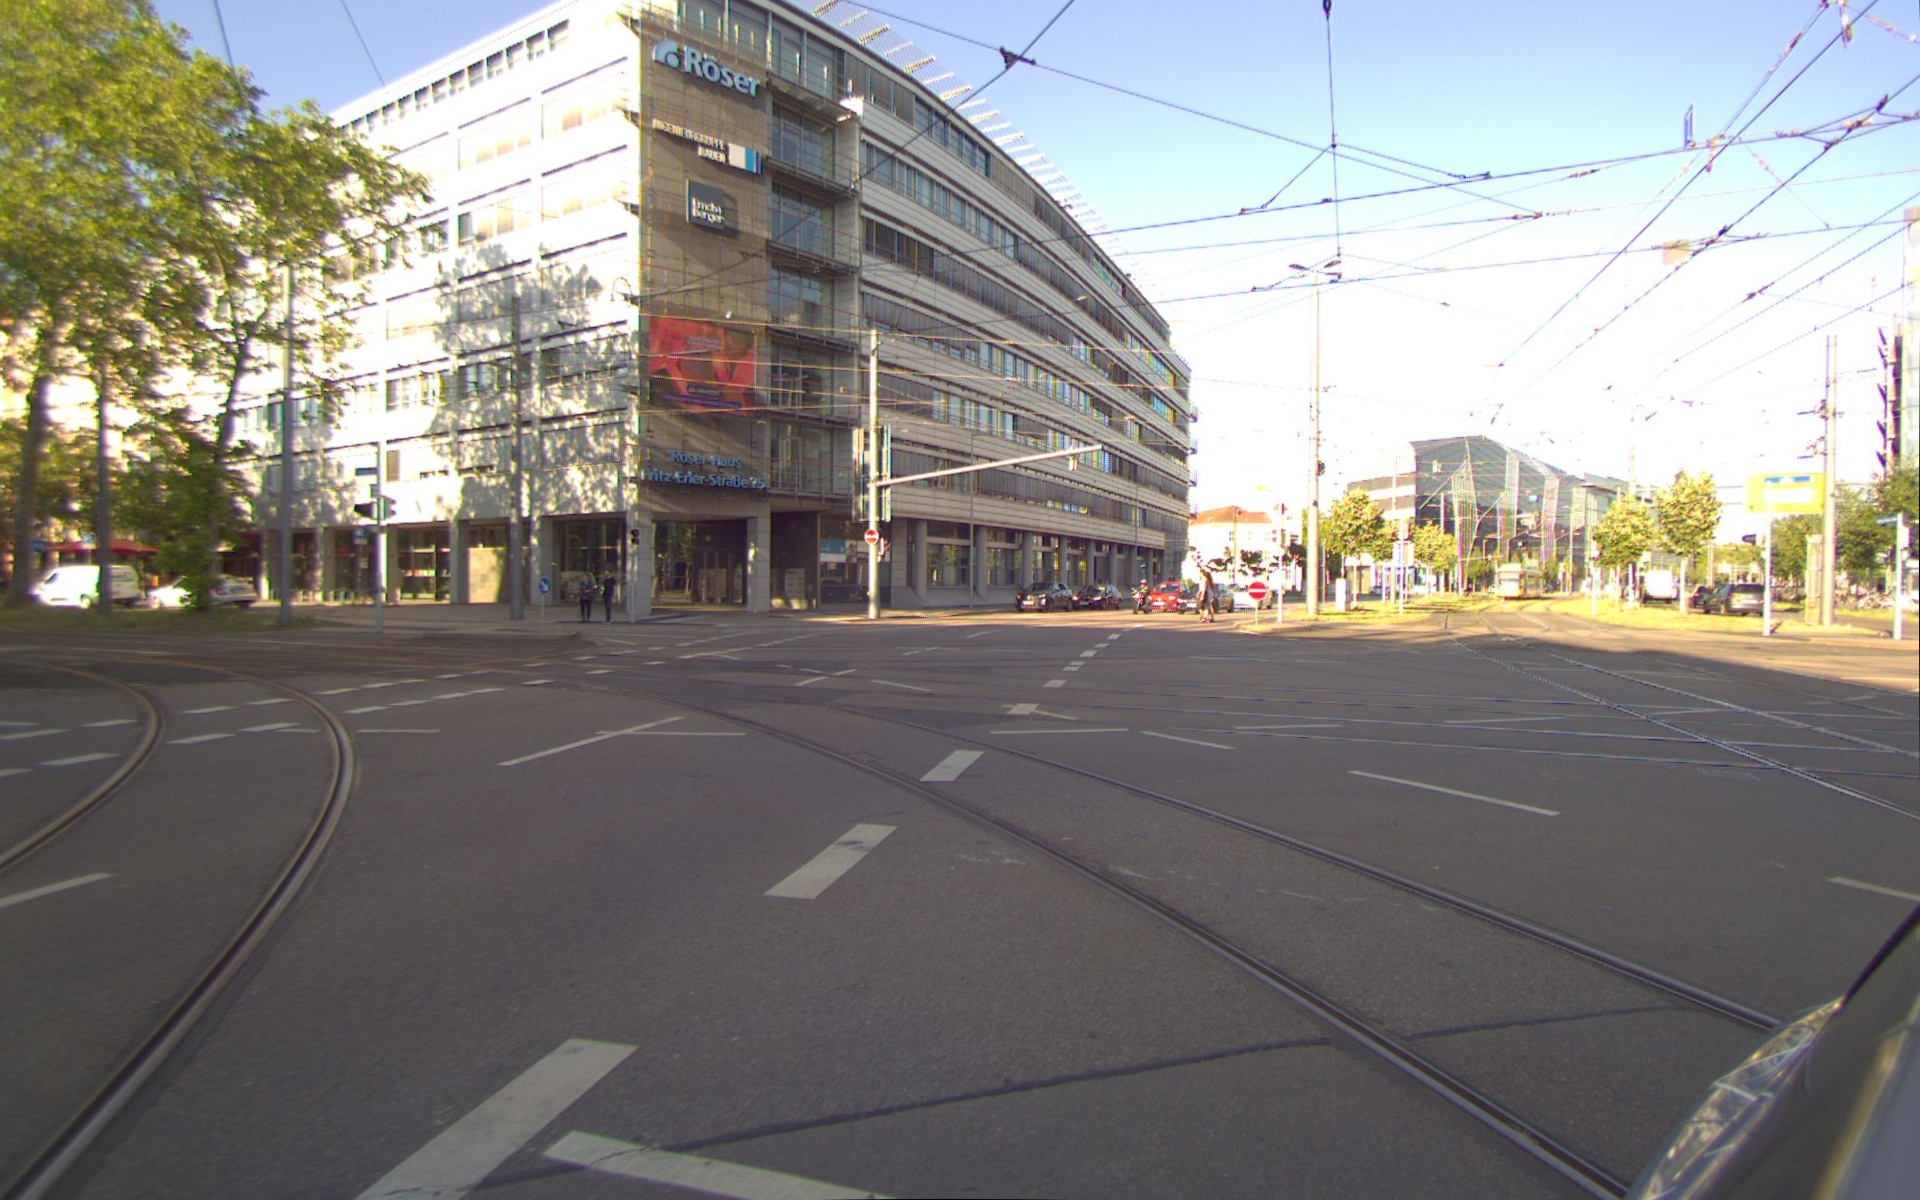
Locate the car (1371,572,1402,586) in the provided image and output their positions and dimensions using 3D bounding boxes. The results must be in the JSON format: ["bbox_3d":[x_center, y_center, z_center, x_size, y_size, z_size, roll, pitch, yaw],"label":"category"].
[{"bbox_3d":[60.145,-2.984,142.776,3.954,1.883,1.985,1,2,23],"label":"car"}]

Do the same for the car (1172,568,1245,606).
[{"bbox_3d":[11.342,-0.586,46.052,1.891,1.641,4.471,1,1,33],"label":"car"}]

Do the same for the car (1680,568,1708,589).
[{"bbox_3d":[73.001,-2.196,100.601,3.824,2.038,1.608,-2,2,-45],"label":"car"}]

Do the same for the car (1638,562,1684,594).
[{"bbox_3d":[57.262,-1.780,82.617,5.875,2.511,1.995,0,1,-44],"label":"car"}]

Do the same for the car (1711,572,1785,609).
[{"bbox_3d":[37.529,-0.465,48.305,1.600,1.622,4.145,3,2,22],"label":"car"}]

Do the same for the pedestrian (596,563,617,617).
[{"bbox_3d":[-12.032,-0.347,34.442,0.537,1.846,0.374,0,1,5],"label":"pedestrian"}]

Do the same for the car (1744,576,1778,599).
[{"bbox_3d":[59.569,-0.930,75.342,1.855,1.652,4.206,1,1,37],"label":"car"}]

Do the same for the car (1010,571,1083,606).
[{"bbox_3d":[4.296,-0.556,49.711,1.891,1.641,4.122,1,1,33],"label":"car"}]

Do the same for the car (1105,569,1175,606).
[{"bbox_3d":[8.444,-0.577,47.333,1.891,1.641,3.820,1,1,33],"label":"car"}]

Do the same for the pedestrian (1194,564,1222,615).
[{"bbox_3d":[8.552,-0.374,34.960,0.832,1.709,0.647,0,2,7],"label":"pedestrian"}]

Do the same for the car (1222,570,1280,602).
[{"bbox_3d":[15.650,-0.738,54.242,1.891,1.641,4.122,1,1,33],"label":"car"}]

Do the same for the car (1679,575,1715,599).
[{"bbox_3d":[51.812,-0.942,71.123,1.856,1.652,4.204,1,1,38],"label":"car"}]

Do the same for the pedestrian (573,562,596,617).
[{"bbox_3d":[-12.834,-0.358,34.600,0.579,1.846,0.544,0,1,5],"label":"pedestrian"}]

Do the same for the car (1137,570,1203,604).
[{"bbox_3d":[10.584,-0.669,50.778,1.891,1.641,4.122,1,1,33],"label":"car"}]

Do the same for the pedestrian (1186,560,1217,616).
[{"bbox_3d":[8.194,-0.414,34.323,0.951,1.865,0.697,0,1,9],"label":"pedestrian"}]

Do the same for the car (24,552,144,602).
[{"bbox_3d":[-36.946,-0.997,42.694,4.330,2.038,1.988,1,2,20],"label":"car"}]

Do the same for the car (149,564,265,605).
[{"bbox_3d":[-30.282,-0.654,40.719,4.275,1.571,1.846,1,2,23],"label":"car"}]

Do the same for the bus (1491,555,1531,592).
[{"bbox_3d":[54.203,-2.558,99.728,2.697,3.451,9.589,1,1,24],"label":"bus"}]
